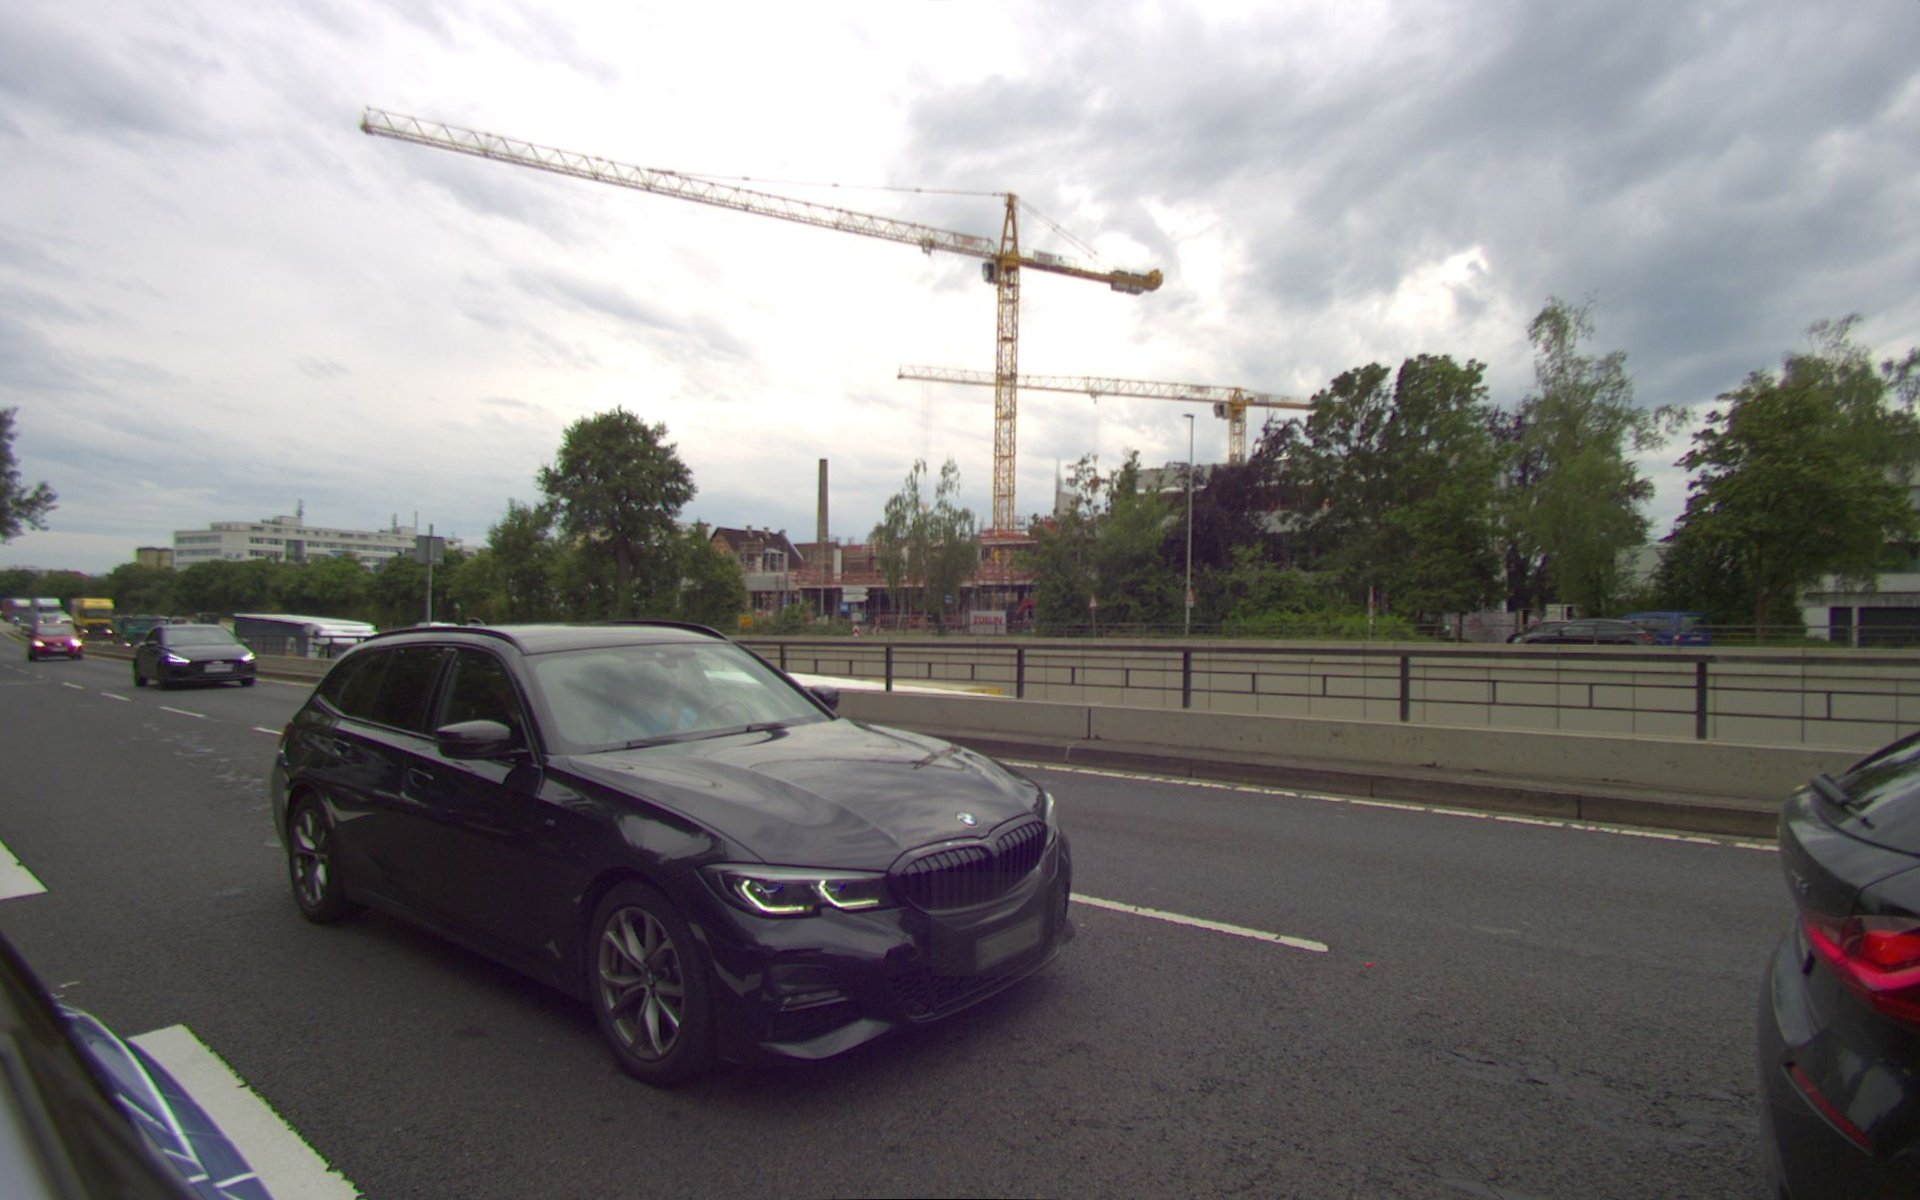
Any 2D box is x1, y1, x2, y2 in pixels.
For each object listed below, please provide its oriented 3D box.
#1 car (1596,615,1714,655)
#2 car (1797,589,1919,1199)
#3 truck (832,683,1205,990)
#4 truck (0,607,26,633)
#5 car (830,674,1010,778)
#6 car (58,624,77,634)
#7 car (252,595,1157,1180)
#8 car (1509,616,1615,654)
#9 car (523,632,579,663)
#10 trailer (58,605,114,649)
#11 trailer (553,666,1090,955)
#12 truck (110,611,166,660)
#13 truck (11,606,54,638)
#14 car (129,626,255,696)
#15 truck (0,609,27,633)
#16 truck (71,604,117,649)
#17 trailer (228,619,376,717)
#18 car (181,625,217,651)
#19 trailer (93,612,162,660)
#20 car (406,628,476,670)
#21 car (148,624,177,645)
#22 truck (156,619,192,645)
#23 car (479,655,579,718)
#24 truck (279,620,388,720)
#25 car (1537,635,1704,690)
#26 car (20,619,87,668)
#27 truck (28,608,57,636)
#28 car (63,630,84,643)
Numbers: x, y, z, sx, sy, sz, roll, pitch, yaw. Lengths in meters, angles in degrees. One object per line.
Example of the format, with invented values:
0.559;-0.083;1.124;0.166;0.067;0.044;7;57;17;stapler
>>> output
27.649;1.368;40.416;1.603;1.452;4.006;-1;0;-7;car
3.331;0.657;0.854;3.996;1.405;1.607;-1;0;39;car
0.849;3.685;17.779;6.199;4.067;2.677;-1;-2;41;truck
-119.343;2.490;126.878;2.915;3.210;13.790;2;-2;-44;truck
-1.509;4.294;35.755;6.419;3.052;2.482;-2;-2;41;car
-149.023;4.807;168.978;3.998;1.564;1.973;-1;0;41;car
-1.516;0.789;4.616;4.458;1.437;1.731;-2;-2;40;car
24.808;1.414;41.856;1.603;1.452;4.006;-1;0;-7;car
-34.798;4.022;86.100;5.224;2.479;2.310;-2;-2;41;car
-93.066;2.792;107.582;19.930;4.387;2.858;-1;-2;45;trailer
-3.994;3.730;21.983;14.547;4.067;2.624;-1;-2;41;trailer
-64.510;2.766;79.360;6.670;3.663;2.609;-1;-2;44;truck
-91.359;2.161;99.588;13.785;3.001;2.489;-1;-2;45;truck
-18.172;1.377;23.895;3.999;1.452;1.680;-1;0;42;car
-168.333;3.723;179.551;13.772;4.067;2.498;-1;-2;41;truck
-86.836;2.666;101.432;6.522;4.377;2.853;-1;-2;44;truck
-31.679;2.962;48.278;14.787;4.067;2.496;-1;-2;44;trailer
-94.666;4.692;125.770;7.515;3.052;2.480;-2;-2;44;car
-69.575;2.874;84.386;16.756;3.668;2.577;-1;-2;45;trailer
-39.692;3.699;77.290;7.515;3.052;2.480;-2;-2;44;car
-119.134;5.166;151.182;7.515;3.052;2.480;-2;-2;44;car
-130.206;5.191;167.536;13.784;4.067;2.916;-1;-2;45;truck
-23.544;4.598;55.154;6.419;3.052;2.482;-2;-2;41;car
-27.508;2.925;44.342;6.098;4.067;2.496;-1;-2;43;truck
21.603;1.989;33.208;4.352;1.638;1.864;-2;-2;41;car
-38.680;1.902;43.148;4.579;1.810;1.744;-6;-8;44;car
-136.870;3.255;150.895;2.914;4.067;13.791;2;-2;-43;truck
-105.842;4.340;120.779;4.002;1.452;1.605;-1;0;44;car
